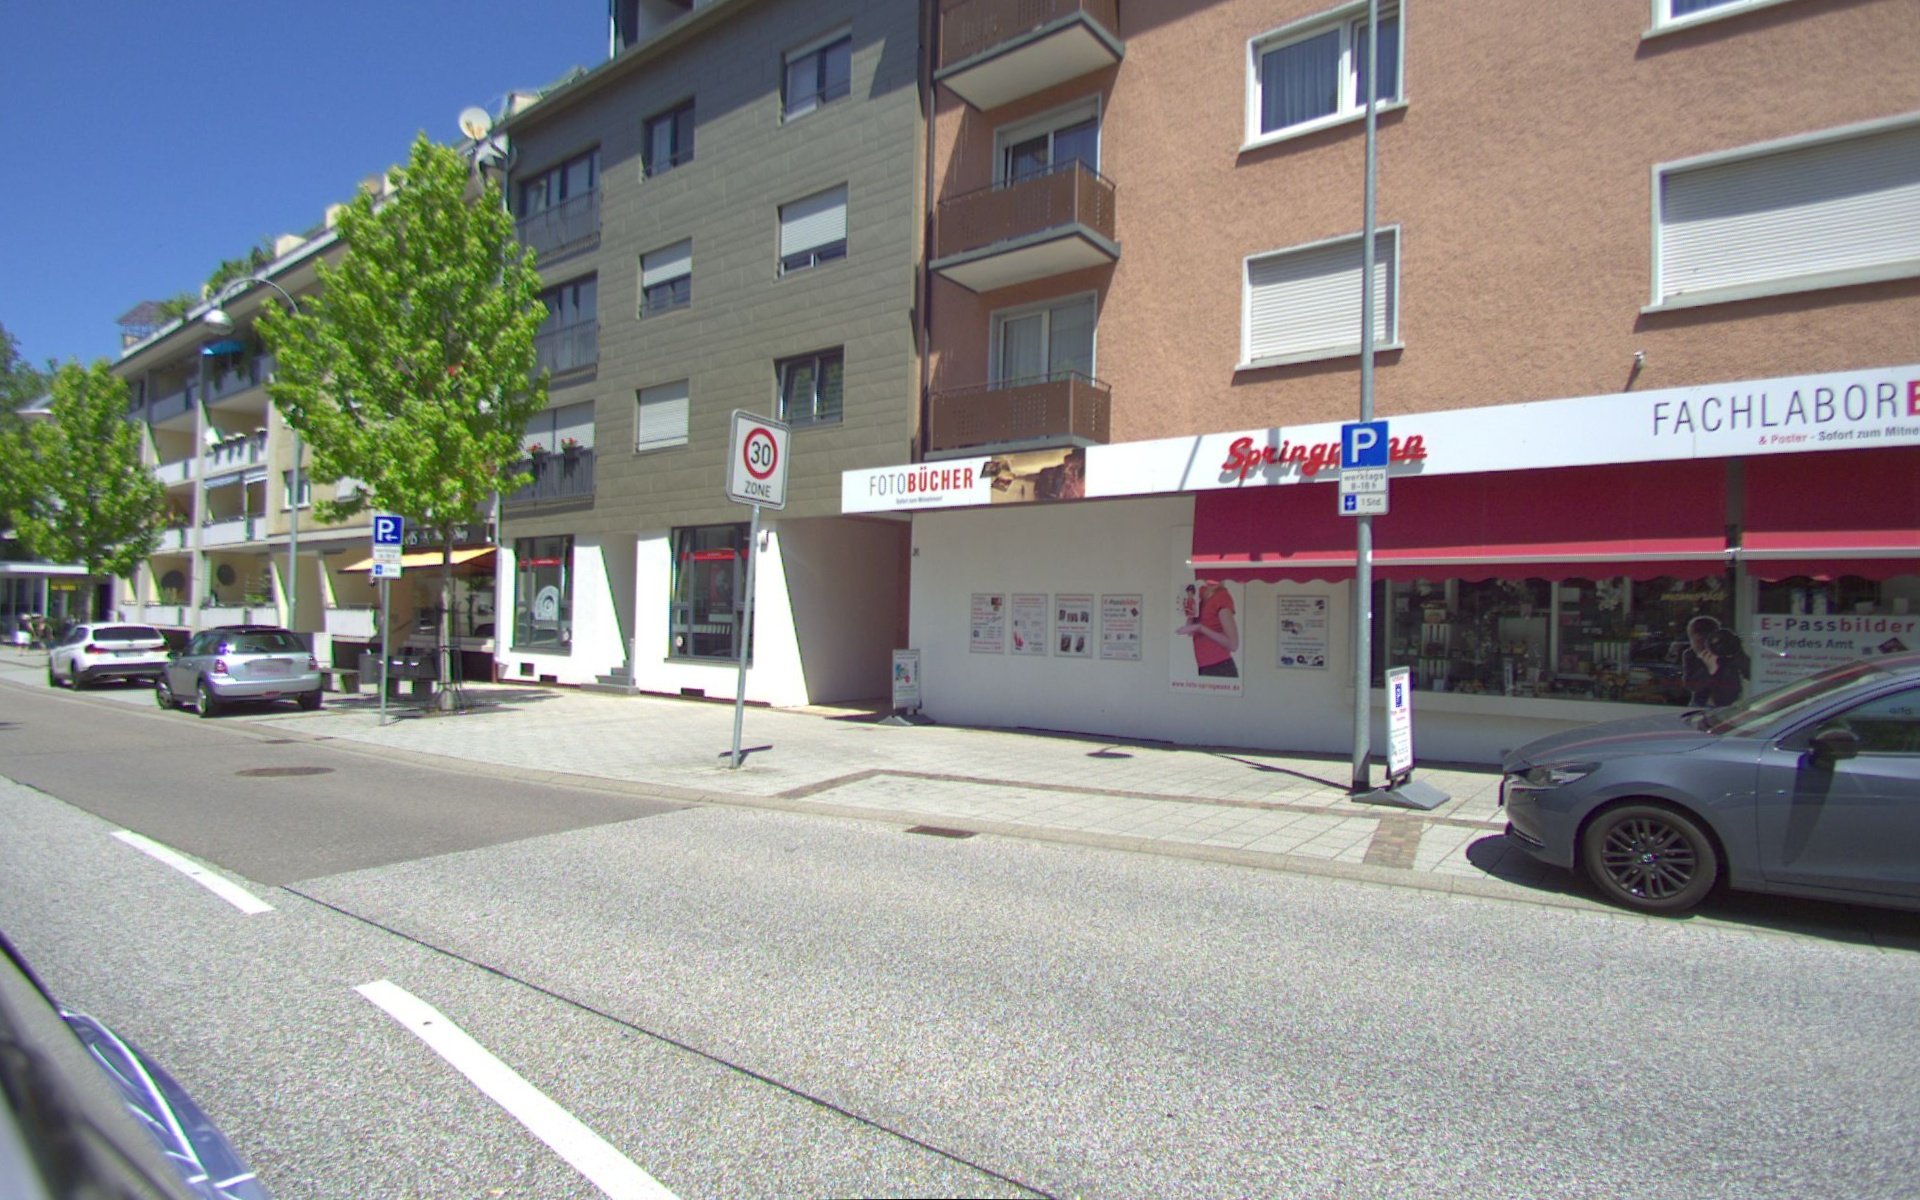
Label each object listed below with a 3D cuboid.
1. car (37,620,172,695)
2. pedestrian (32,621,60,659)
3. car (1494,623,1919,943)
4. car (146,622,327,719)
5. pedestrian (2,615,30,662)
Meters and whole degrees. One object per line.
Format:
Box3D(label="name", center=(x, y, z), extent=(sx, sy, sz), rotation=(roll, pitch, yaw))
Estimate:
Box3D(label="car", center=(-20.527, 1.308, 24.228), extent=(4.294, 1.604, 1.678), rotation=(-1, 0, 39))
Box3D(label="pedestrian", center=(-36.656, 1.611, 40.581), extent=(0.767, 1.510, 0.698), rotation=(2, -3, -40))
Box3D(label="car", center=(5.279, 0.905, 5.487), extent=(4.051, 1.497, 1.653), rotation=(-1, 0, 35))
Box3D(label="car", center=(-12.440, 1.138, 17.349), extent=(3.544, 1.485, 1.605), rotation=(-1, -2, 39))
Box3D(label="pedestrian", center=(-37.008, 1.494, 39.683), extent=(0.657, 1.818, 0.687), rotation=(2, -3, -37))
